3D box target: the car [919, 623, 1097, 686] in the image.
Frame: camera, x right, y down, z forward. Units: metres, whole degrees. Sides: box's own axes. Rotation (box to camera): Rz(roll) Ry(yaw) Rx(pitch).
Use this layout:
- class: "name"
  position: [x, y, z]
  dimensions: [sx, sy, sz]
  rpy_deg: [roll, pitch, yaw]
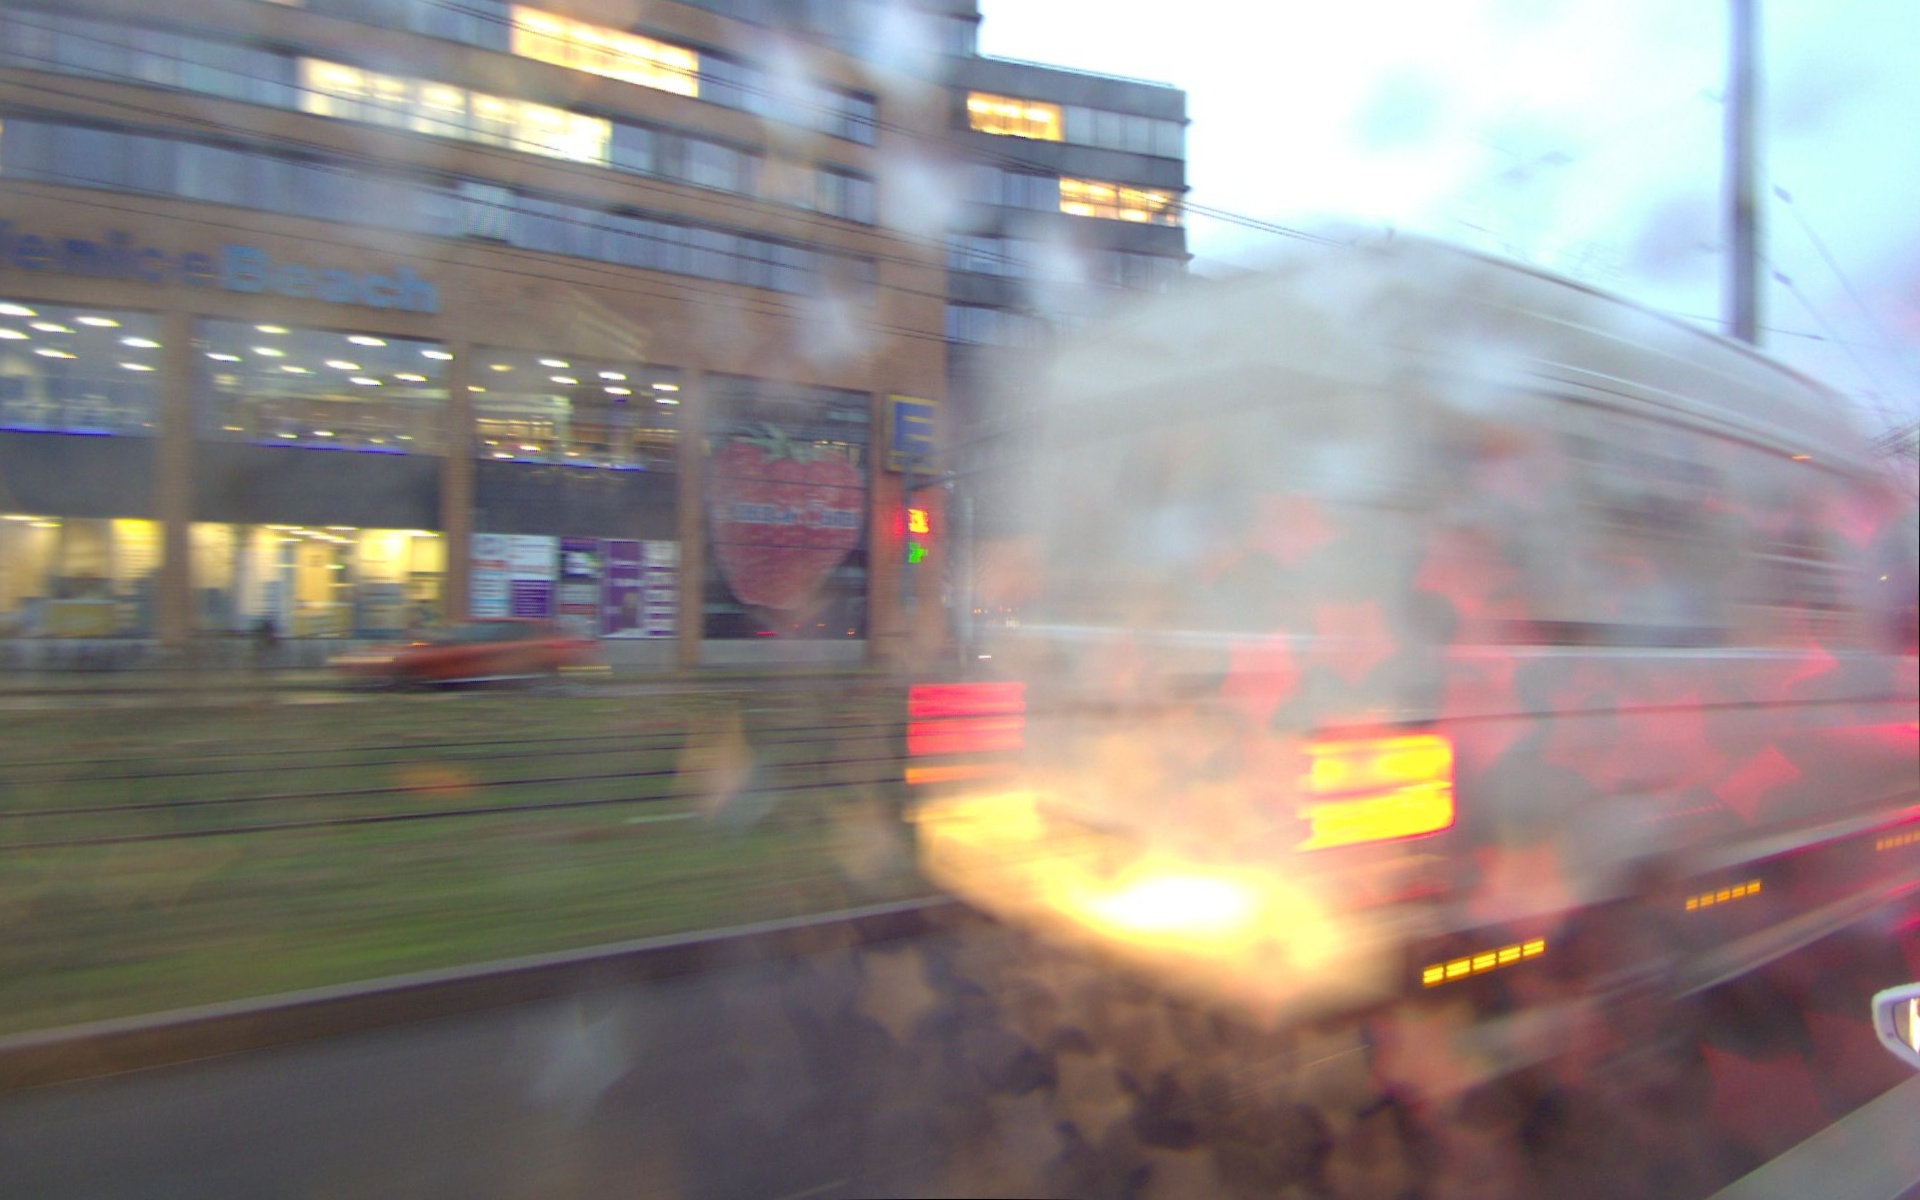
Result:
- class: "car"
  position: [1.268, 1.358, 25.850]
  dimensions: [4.270, 1.469, 1.981]
  rpy_deg: [2, -1, -34]

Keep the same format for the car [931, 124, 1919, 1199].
- class: "car"
  position: [2.877, 0.293, 4.649]
  dimensions: [5.914, 2.459, 1.981]
  rpy_deg: [2, -1, -35]

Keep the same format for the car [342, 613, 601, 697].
- class: "car"
  position: [-9.028, 0.989, 18.719]
  dimensions: [4.150, 1.411, 1.721]
  rpy_deg: [2, -1, -30]
